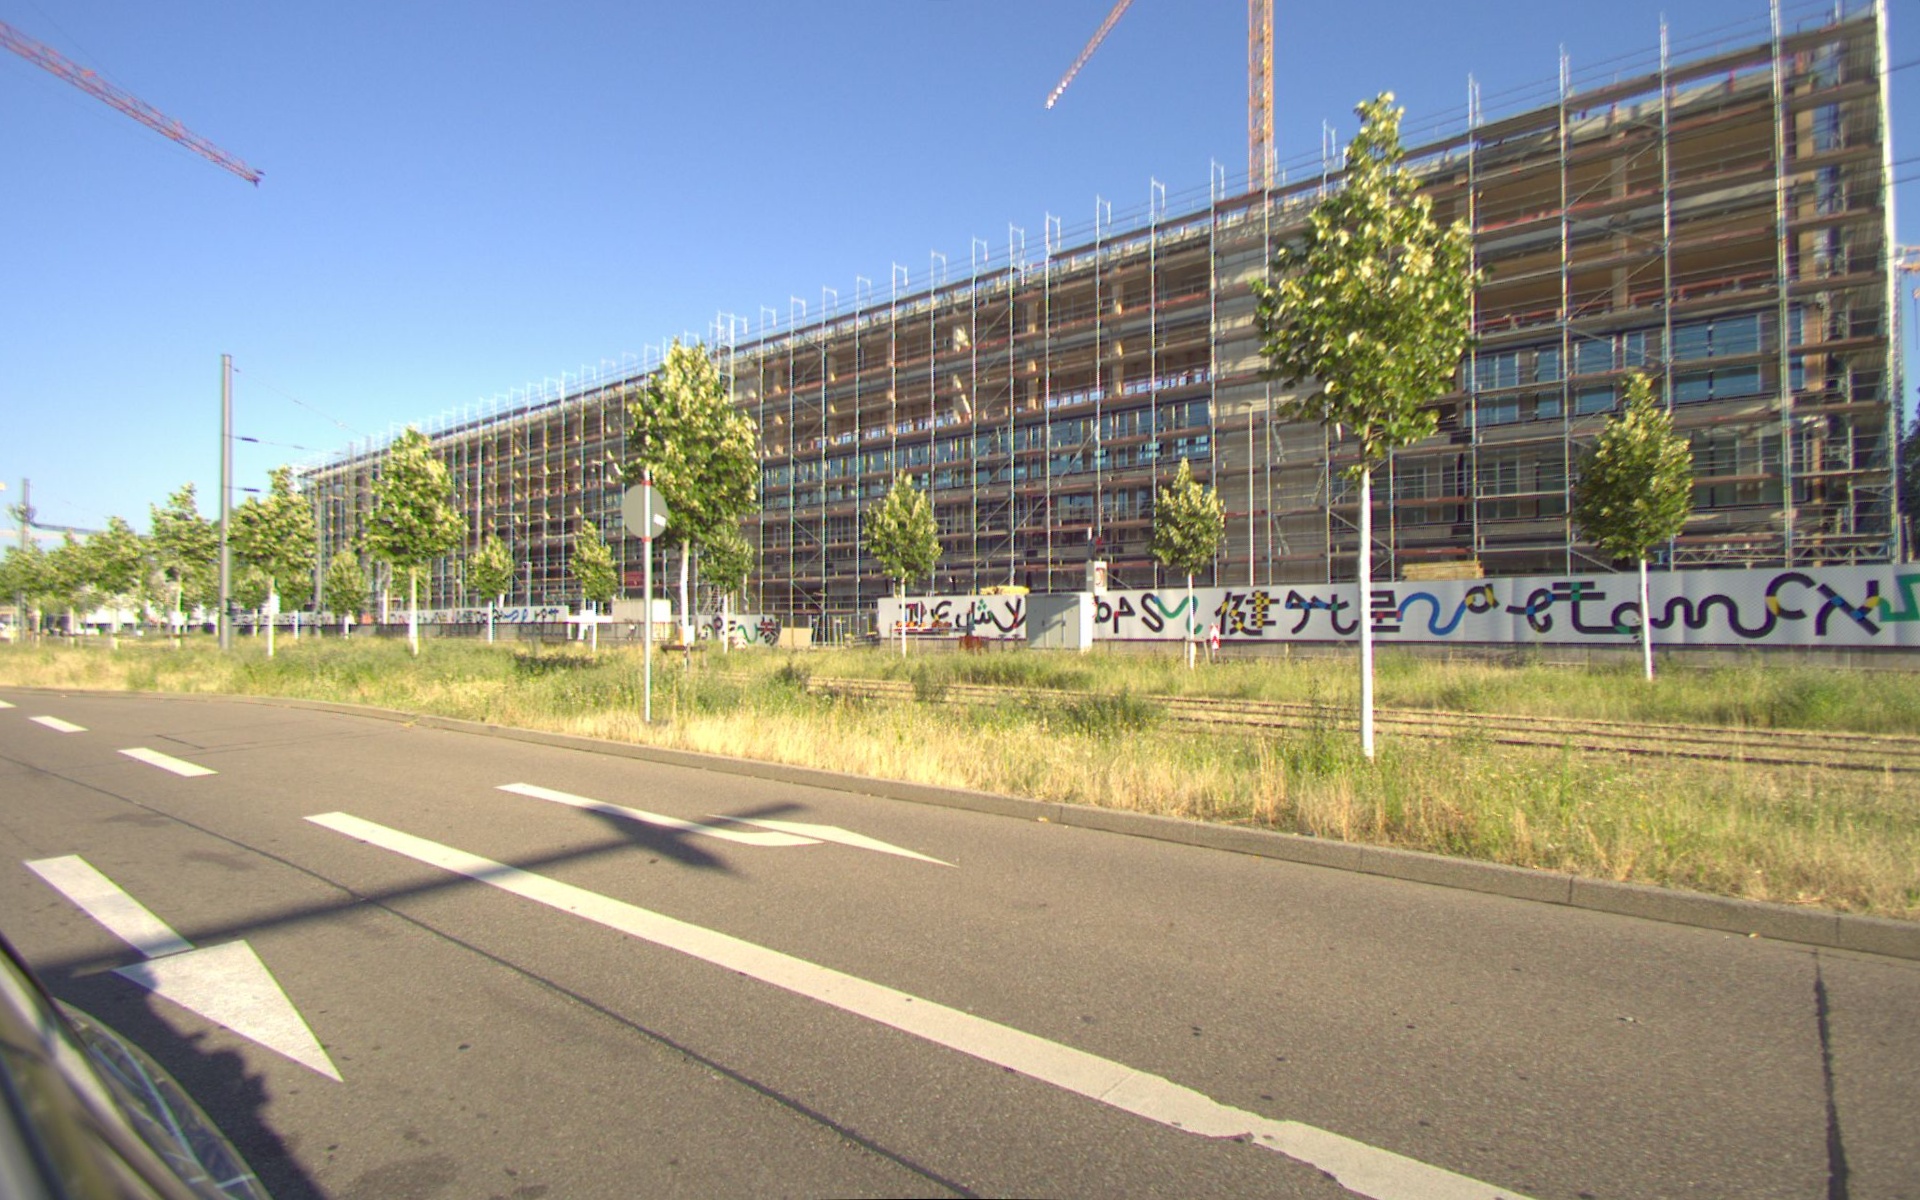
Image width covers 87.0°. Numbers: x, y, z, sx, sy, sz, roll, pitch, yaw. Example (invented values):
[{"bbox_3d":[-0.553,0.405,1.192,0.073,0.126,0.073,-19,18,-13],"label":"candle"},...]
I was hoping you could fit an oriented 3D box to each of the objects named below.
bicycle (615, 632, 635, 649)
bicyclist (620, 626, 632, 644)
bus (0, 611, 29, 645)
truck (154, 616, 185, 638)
[{"bbox_3d":[-21.860,2.654,66.043,1.563,1.069,0.473,-2,-2,40],"label":"bicycle"},{"bbox_3d":[-21.740,2.297,65.943,0.638,1.162,0.474,-2,-2,40],"label":"bicyclist"},{"bbox_3d":[-94.864,2.794,100.704,8.657,3.247,2.687,-2,-2,44],"label":"bus"},{"bbox_3d":[-94.410,3.200,120.786,4.738,2.593,2.115,-2,-2,42],"label":"truck"}]
